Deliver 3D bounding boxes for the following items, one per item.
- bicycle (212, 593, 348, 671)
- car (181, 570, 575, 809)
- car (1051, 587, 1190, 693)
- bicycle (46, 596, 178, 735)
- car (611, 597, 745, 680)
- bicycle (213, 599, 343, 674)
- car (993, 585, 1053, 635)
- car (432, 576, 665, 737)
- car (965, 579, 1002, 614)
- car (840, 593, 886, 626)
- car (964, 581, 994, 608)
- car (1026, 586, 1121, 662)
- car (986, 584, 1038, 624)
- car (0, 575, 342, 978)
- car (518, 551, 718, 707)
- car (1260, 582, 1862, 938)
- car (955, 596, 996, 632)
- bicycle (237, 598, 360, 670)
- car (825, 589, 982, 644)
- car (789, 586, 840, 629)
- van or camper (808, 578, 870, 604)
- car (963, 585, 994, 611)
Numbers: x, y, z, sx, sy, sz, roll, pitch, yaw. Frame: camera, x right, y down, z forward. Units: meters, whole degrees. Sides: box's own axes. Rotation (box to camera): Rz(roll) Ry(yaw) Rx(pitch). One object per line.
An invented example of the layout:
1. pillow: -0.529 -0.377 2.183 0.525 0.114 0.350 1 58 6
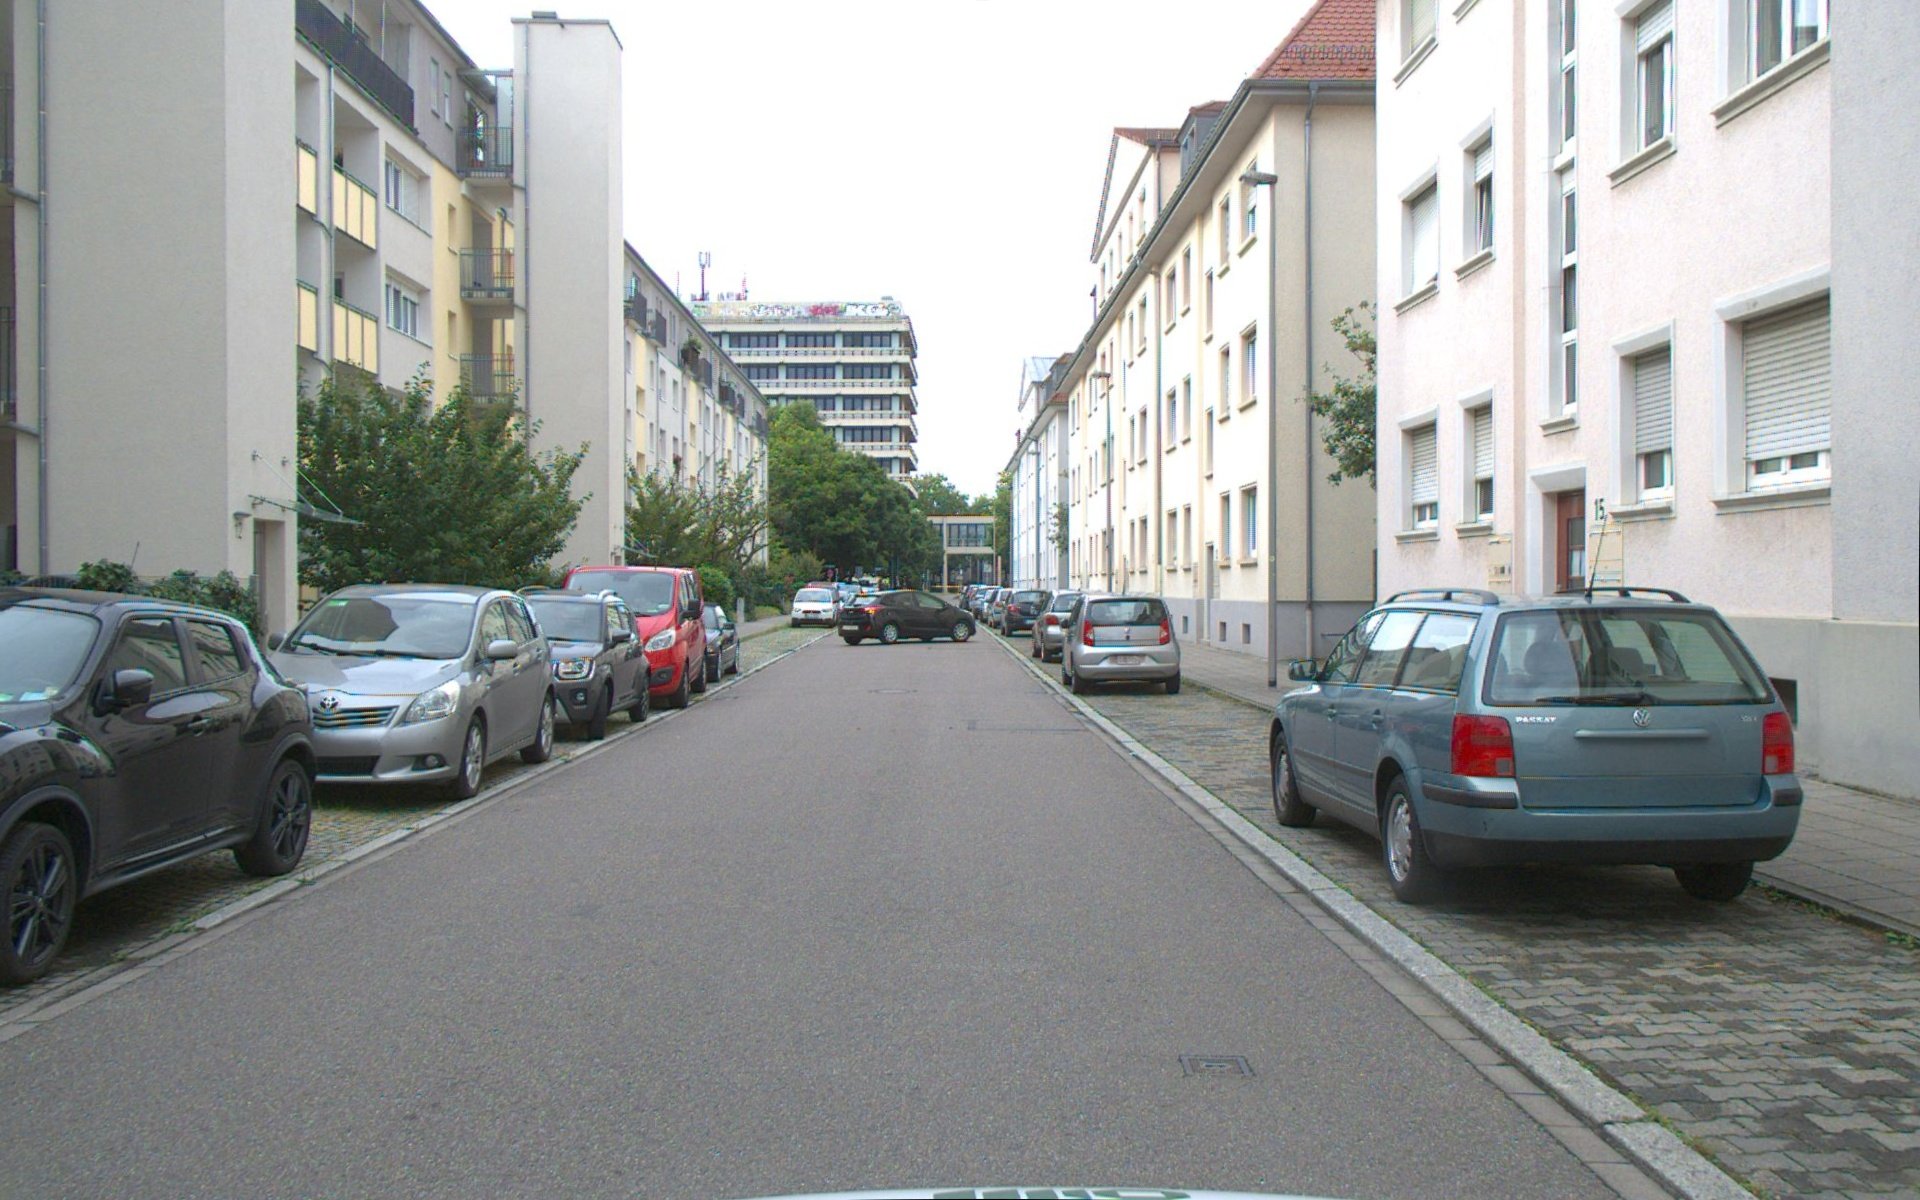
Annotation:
1. bicycle: -10.387 0.485 25.294 1.798 1.138 0.604 1 0 -3
2. car: -4.620 0.617 13.968 1.798 1.597 4.858 2 0 -3
3. car: 2.417 0.556 25.763 1.690 1.518 4.060 0 0 -1
4. bicycle: -7.836 0.573 15.351 0.541 1.212 1.725 0 0 -8
5. car: -5.097 0.652 30.421 1.832 1.346 4.360 2 0 -2
6. bicycle: -10.694 0.563 25.959 1.797 1.138 0.570 1 0 0
7. car: 1.969 0.299 52.706 1.690 1.544 4.060 0 0 -1
8. car: -4.616 0.582 19.126 1.686 1.597 4.053 2 0 -1
9. car: 1.138 -0.171 82.285 1.783 1.671 4.091 -1 0 0
10. car: -4.444 0.417 76.391 1.807 1.476 4.501 1 0 0
11. car: 1.161 -0.340 103.382 1.783 1.631 4.091 -1 0 0
12. car: 2.403 0.477 35.909 1.690 1.544 4.060 0 0 -1
13. car: 1.956 0.120 63.075 1.811 1.475 3.832 -1 0 -1
14. car: -4.541 0.678 7.870 1.619 1.557 3.895 2 0 1
15. car: -4.885 0.378 24.367 2.109 1.988 4.918 2 0 -3
16. car: 2.925 0.656 9.104 1.690 1.495 4.263 0 0 -1
17. car: 0.654 0.589 73.401 1.690 1.502 4.504 1 0 -1
18. bicycle: -10.765 0.549 26.934 1.796 1.138 0.571 1 0 5
19. car: -1.526 0.437 45.801 4.199 1.458 1.879 0 0 -43
20. car: -5.690 0.287 65.152 1.686 1.597 3.869 2 0 -1
21. van or camper: -10.071 -0.744 137.603 5.070 2.049 1.998 -1 0 -5
22. car: 1.100 -0.137 98.527 1.783 1.529 4.091 0 0 0
